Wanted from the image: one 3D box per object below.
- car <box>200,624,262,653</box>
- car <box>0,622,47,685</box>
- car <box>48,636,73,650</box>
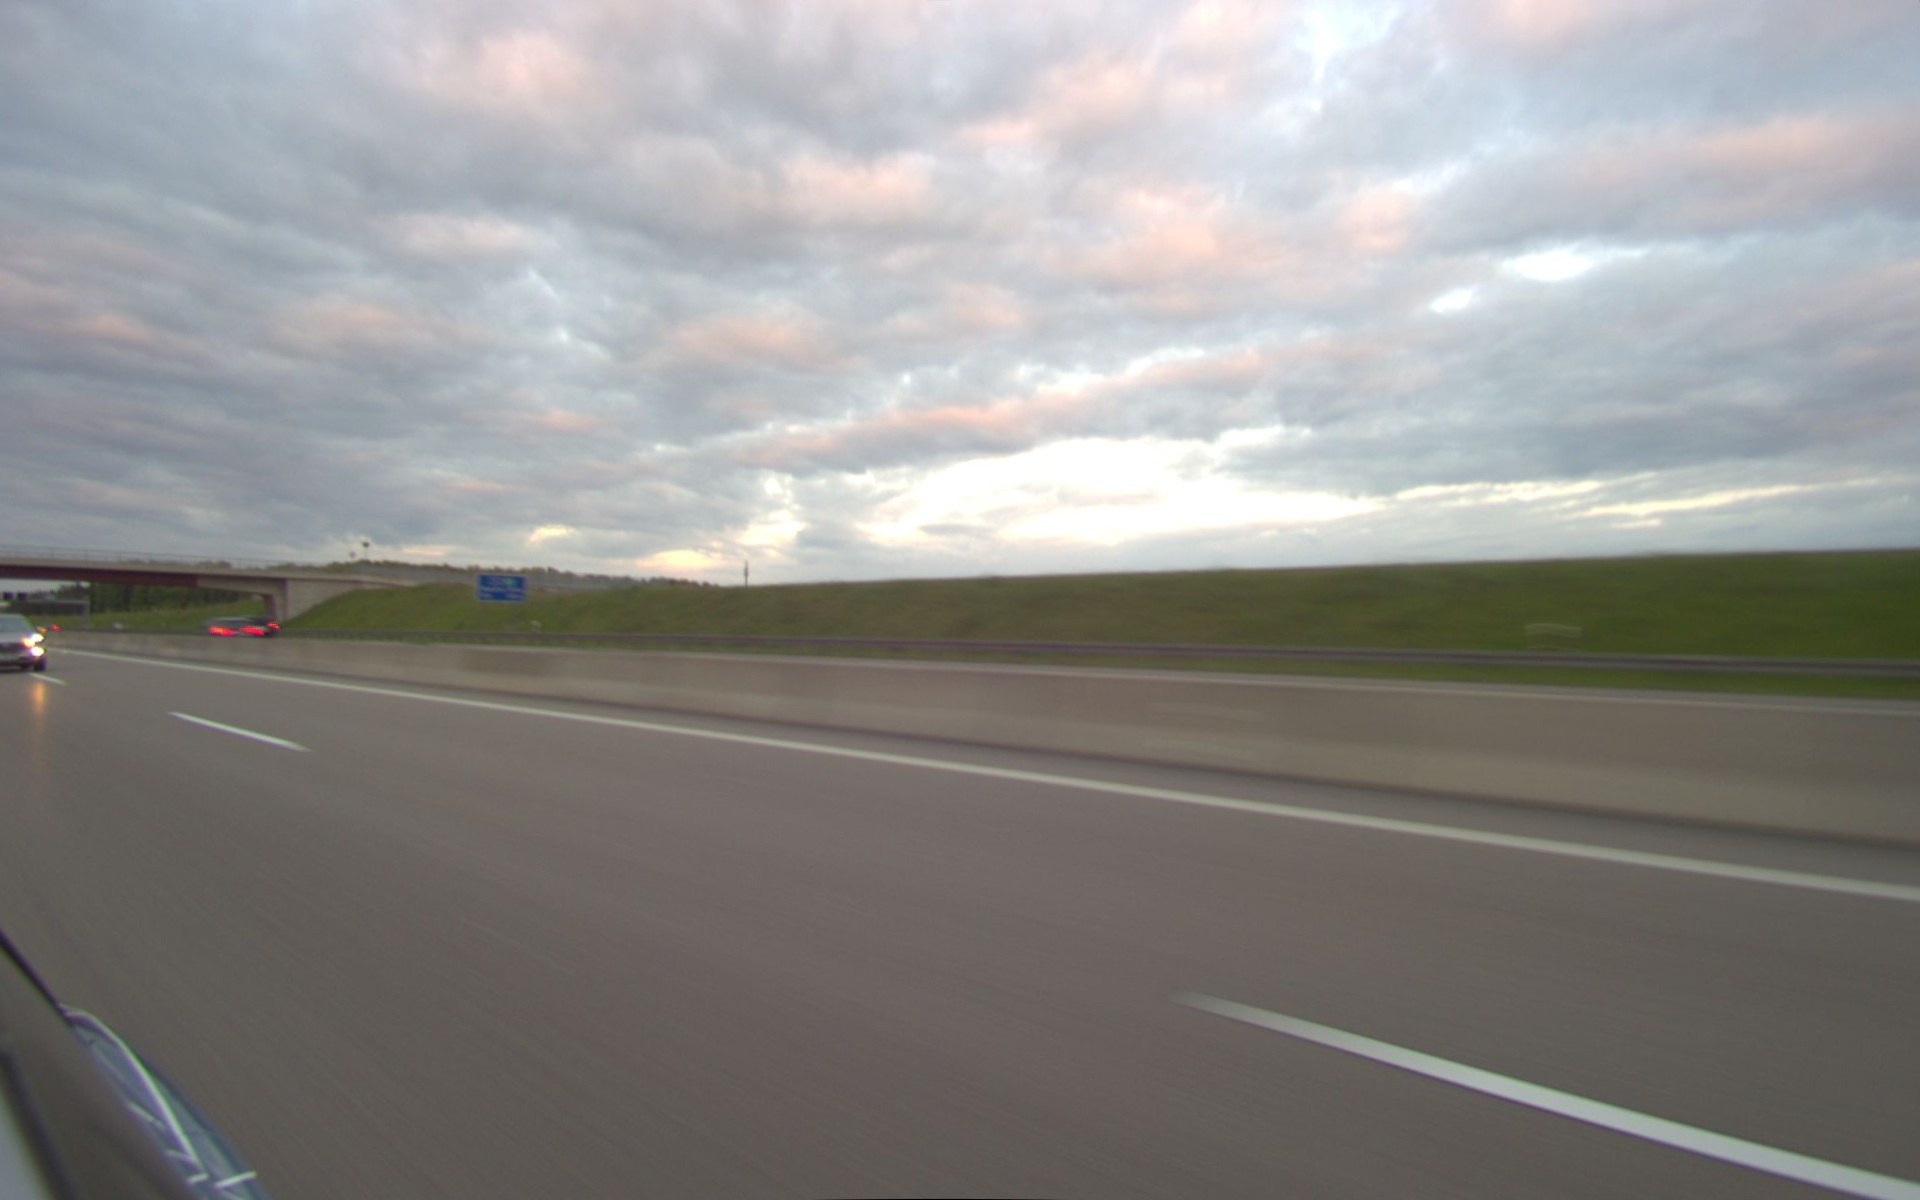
[{"bbox_3d":[-38.359,2.020,53.226,4.671,1.446,1.791,-2,-2,43],"label":"car"},{"bbox_3d":[-28.190,1.493,29.445,5.510,1.705,1.833,-1,-1,42],"label":"car"},{"bbox_3d":[-113.005,5.409,127.129,4.648,1.675,1.806,-2,-1,41],"label":"car"}]
